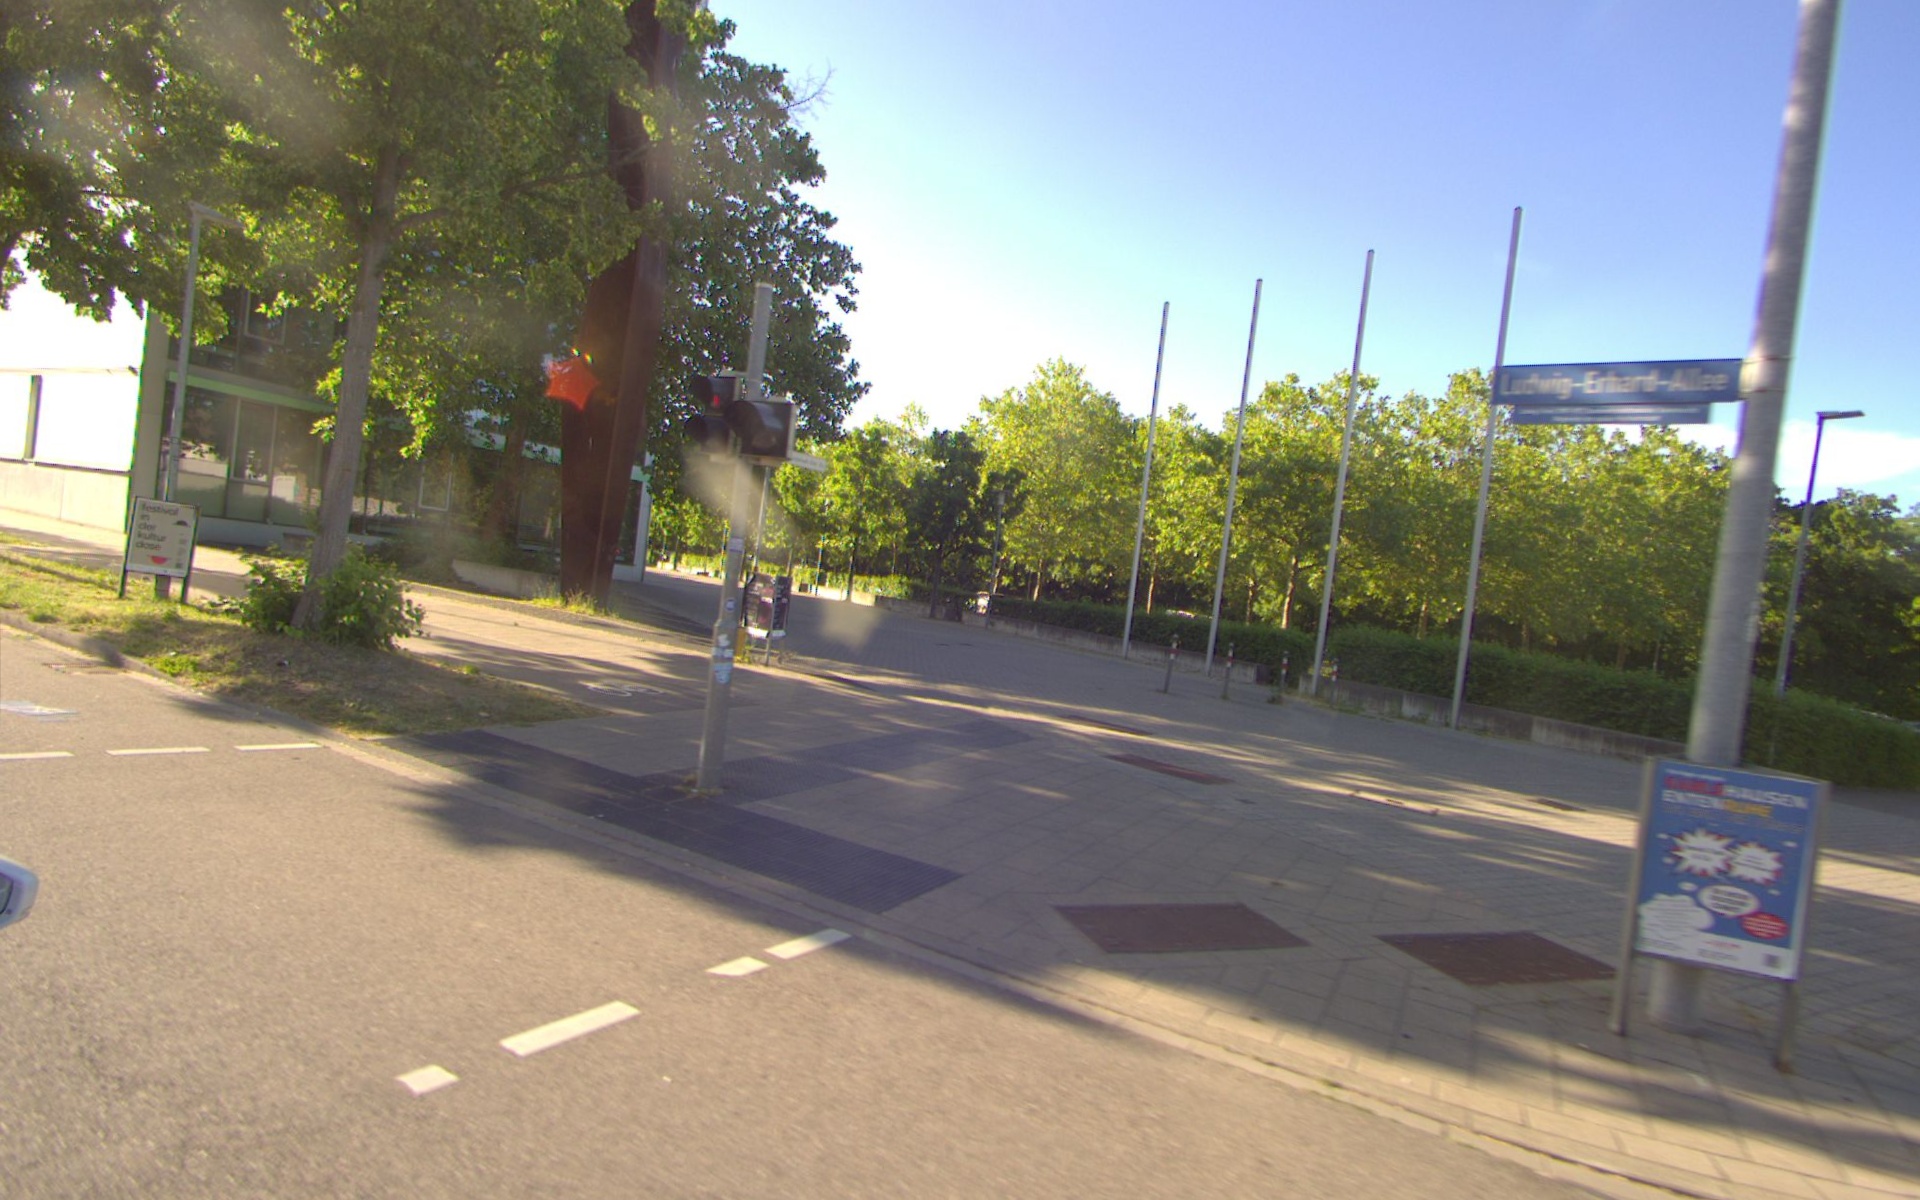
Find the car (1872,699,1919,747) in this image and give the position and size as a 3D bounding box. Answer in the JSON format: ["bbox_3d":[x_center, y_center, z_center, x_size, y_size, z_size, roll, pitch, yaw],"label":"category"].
[{"bbox_3d":[34.658,4.540,34.846,1.978,1.483,3.971,8,0,-28],"label":"car"}]

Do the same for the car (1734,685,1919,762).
[{"bbox_3d":[25.794,3.623,29.796,1.980,1.483,3.967,8,0,-31],"label":"car"}]

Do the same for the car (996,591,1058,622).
[{"bbox_3d":[4.464,0.408,67.560,1.982,1.483,3.962,8,0,-34],"label":"car"}]
